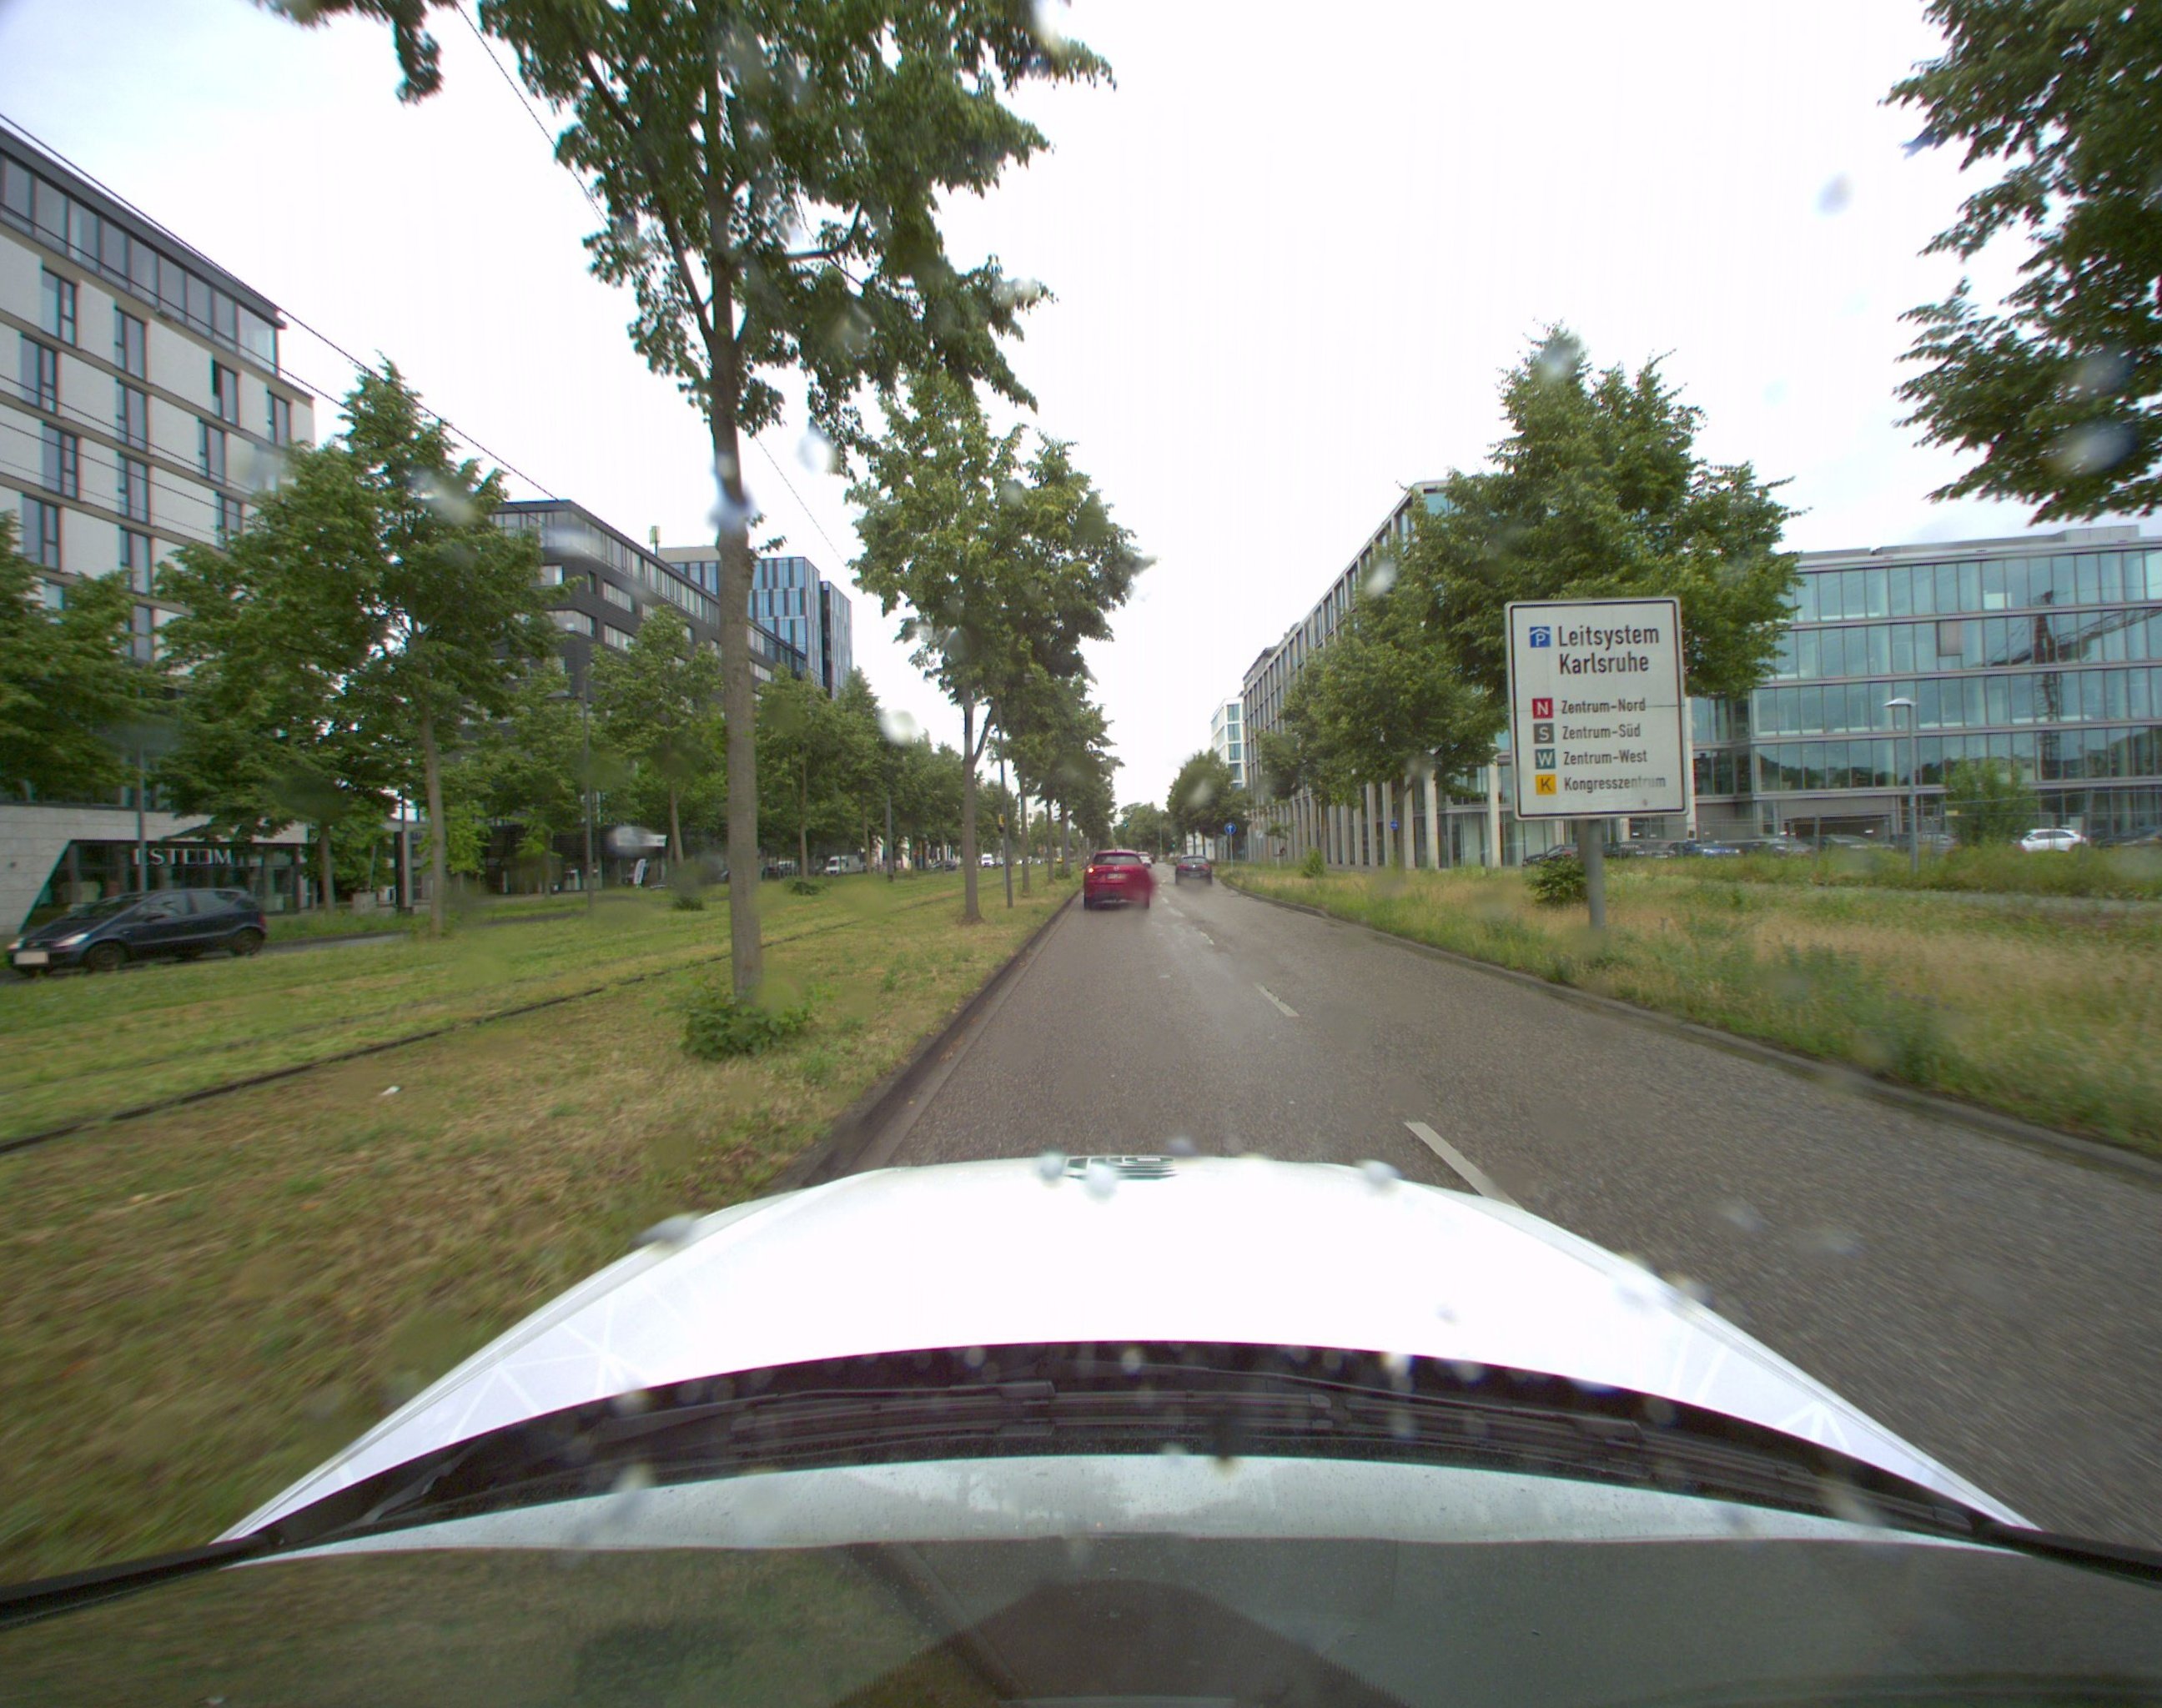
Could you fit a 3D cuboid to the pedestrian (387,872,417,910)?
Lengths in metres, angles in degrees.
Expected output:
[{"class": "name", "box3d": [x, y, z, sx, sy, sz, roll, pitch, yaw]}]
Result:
[{"class": "pedestrian", "box3d": [-36.007, 1.953, 43.179, 0.789, 1.981, 0.858, -2, 0, 10]}]

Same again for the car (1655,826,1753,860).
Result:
[{"class": "car", "box3d": [29.004, -0.493, 38.065, 1.845, 1.454, 4.008, -2, 0, 7]}]

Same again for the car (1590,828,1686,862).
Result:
[{"class": "car", "box3d": [26.027, -0.401, 38.268, 1.845, 1.454, 4.566, -2, 0, 7]}]

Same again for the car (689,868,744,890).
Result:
[{"class": "car", "box3d": [-25.979, 1.788, 58.229, 1.986, 1.378, 4.002, -2, 0, 2]}]

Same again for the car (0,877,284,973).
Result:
[{"class": "car", "box3d": [-19.896, 1.406, 17.383, 1.986, 1.656, 3.702, -2, 0, 2]}]

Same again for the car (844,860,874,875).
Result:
[{"class": "car", "box3d": [-24.749, 1.496, 91.078, 1.987, 1.521, 4.607, -2, 0, 1]}]

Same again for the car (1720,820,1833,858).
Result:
[{"class": "car", "box3d": [32.208, -0.665, 37.899, 1.845, 1.601, 4.425, -2, 0, 7]}]

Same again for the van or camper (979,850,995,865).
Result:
[{"class": "van or camper", "box3d": [-15.925, 0.543, 138.086, 1.902, 2.410, 5.405, -2, 0, 2]}]

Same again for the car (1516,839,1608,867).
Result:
[{"class": "car", "box3d": [28.051, -0.074, 47.621, 4.196, 1.437, 1.985, -2, 2, 7]}]

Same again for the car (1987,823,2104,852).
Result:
[{"class": "car", "box3d": [52.809, -0.895, 44.669, 3.966, 1.437, 1.865, -2, 1, 7]}]

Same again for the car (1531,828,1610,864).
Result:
[{"class": "car", "box3d": [23.289, -0.378, 38.890, 1.844, 1.581, 4.011, -2, 0, 9]}]

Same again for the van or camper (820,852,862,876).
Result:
[{"class": "van or camper", "box3d": [-25.038, 1.036, 85.104, 2.424, 2.315, 5.853, -2, 0, 2]}]

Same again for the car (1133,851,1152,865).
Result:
[{"class": "car", "box3d": [6.486, 0.402, 85.796, 1.959, 1.437, 4.557, 0, 0, 4]}]

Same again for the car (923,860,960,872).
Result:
[{"class": "car", "box3d": [-19.153, 1.640, 111.671, 1.975, 1.521, 4.709, -2, 0, 45]}]

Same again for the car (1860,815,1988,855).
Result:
[{"class": "car", "box3d": [37.506, -0.807, 36.401, 1.845, 1.601, 4.008, -2, 0, 7]}]

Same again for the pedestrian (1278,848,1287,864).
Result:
[{"class": "pedestrian", "box3d": [22.852, 0.203, 92.381, 0.714, 1.714, 0.861, -4, 0, 1]}]

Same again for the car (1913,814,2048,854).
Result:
[{"class": "car", "box3d": [39.763, -0.857, 36.145, 1.845, 1.601, 4.008, -2, 0, 7]}]

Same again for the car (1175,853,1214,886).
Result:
[{"class": "car", "box3d": [5.506, 0.730, 39.887, 1.734, 1.465, 3.788, -2, 0, 6]}]

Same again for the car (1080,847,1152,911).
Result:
[{"class": "car", "box3d": [1.005, 0.660, 23.855, 1.891, 1.677, 4.001, -1, 0, 1]}]

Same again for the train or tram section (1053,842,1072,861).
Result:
[{"class": "train or tram section", "box3d": [-3.666, -0.429, 165.265, 3.117, 3.659, 13.412, -2, 0, 2]}]

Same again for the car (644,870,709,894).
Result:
[{"class": "car", "box3d": [-25.787, 1.761, 52.041, 1.986, 1.378, 4.002, -2, 0, 2]}]

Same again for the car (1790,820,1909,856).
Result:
[{"class": "car", "box3d": [34.723, -0.679, 36.977, 1.776, 1.475, 4.239, -2, 0, 7]}]
